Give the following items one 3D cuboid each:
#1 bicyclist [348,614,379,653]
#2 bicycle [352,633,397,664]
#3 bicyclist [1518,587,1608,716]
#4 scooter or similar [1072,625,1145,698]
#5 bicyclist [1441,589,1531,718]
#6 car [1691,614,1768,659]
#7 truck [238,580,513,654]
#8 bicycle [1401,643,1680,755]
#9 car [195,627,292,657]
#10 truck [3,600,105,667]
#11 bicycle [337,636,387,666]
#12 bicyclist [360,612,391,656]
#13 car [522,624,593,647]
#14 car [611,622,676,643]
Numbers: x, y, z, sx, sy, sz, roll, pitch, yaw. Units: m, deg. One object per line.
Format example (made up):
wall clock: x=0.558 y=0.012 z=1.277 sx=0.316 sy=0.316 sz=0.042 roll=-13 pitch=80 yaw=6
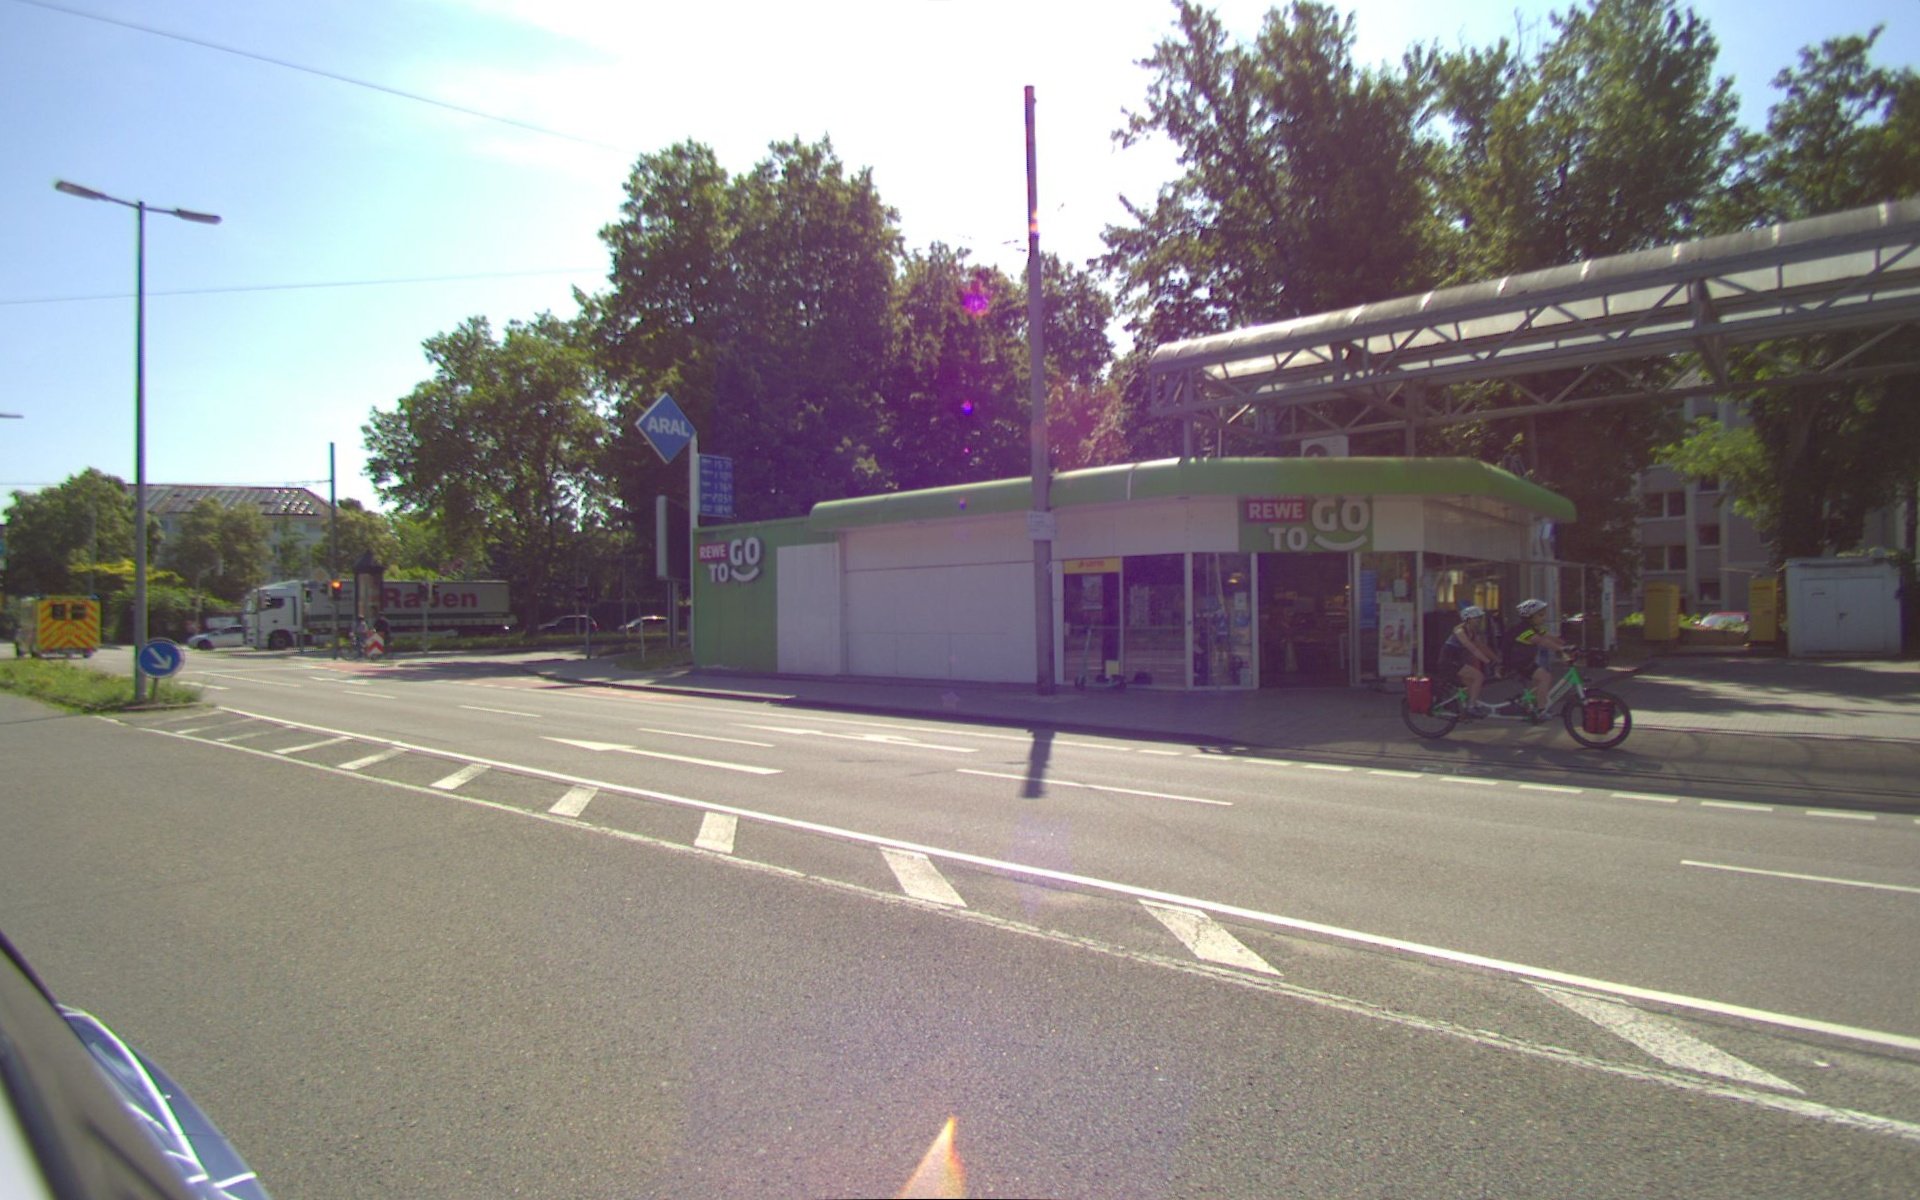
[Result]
bicyclist: x=-22.427 y=1.268 z=38.039 sx=0.737 sy=1.431 sz=0.702 roll=-3 pitch=-2 yaw=32
bicycle: x=-23.215 y=1.909 z=40.124 sx=2.210 sy=1.184 sz=0.927 roll=-2 pitch=-2 yaw=42
bicyclist: x=7.112 y=0.586 z=11.927 sx=0.830 sy=1.446 sz=0.840 roll=-2 pitch=-1 yaw=34
scooter or similar: x=2.661 y=1.088 z=18.226 sx=0.436 sy=1.247 sz=1.347 roll=0 pitch=-2 yaw=-40
bicyclist: x=6.432 y=0.638 z=12.366 sx=0.830 sy=1.446 sz=0.840 roll=-3 pitch=3 yaw=33
car: x=26.386 y=1.228 z=34.681 sx=1.745 sy=1.347 sz=3.636 roll=-4 pitch=-2 yaw=42
truck: x=-34.657 y=0.984 z=60.907 sx=14.091 sy=4.038 sz=2.857 roll=1 pitch=-2 yaw=-44
bicycle: x=6.806 y=1.109 z=11.980 sx=2.768 sy=1.103 sz=0.817 roll=-1 pitch=1 yaw=38
car: x=-42.171 y=2.470 z=59.670 sx=4.322 sy=1.522 sz=1.762 roll=-2 pitch=-2 yaw=-20
truck: x=-39.672 y=1.469 z=44.242 sx=7.353 sy=2.688 sz=2.307 roll=-2 pitch=-2 yaw=40
bicycle: x=-22.544 y=1.914 z=38.153 sx=2.068 sy=1.066 sz=0.745 roll=-2 pitch=-1 yaw=32
bicyclist: x=-23.118 y=1.356 z=40.030 sx=0.826 sy=1.687 sz=0.827 roll=-4 pitch=-2 yaw=40
car: x=-28.321 y=2.486 z=71.306 sx=4.304 sy=1.379 sz=1.758 roll=-1 pitch=-2 yaw=-42
car: x=-23.702 y=2.411 z=75.914 sx=4.304 sy=1.379 sz=1.758 roll=-1 pitch=-2 yaw=-42
